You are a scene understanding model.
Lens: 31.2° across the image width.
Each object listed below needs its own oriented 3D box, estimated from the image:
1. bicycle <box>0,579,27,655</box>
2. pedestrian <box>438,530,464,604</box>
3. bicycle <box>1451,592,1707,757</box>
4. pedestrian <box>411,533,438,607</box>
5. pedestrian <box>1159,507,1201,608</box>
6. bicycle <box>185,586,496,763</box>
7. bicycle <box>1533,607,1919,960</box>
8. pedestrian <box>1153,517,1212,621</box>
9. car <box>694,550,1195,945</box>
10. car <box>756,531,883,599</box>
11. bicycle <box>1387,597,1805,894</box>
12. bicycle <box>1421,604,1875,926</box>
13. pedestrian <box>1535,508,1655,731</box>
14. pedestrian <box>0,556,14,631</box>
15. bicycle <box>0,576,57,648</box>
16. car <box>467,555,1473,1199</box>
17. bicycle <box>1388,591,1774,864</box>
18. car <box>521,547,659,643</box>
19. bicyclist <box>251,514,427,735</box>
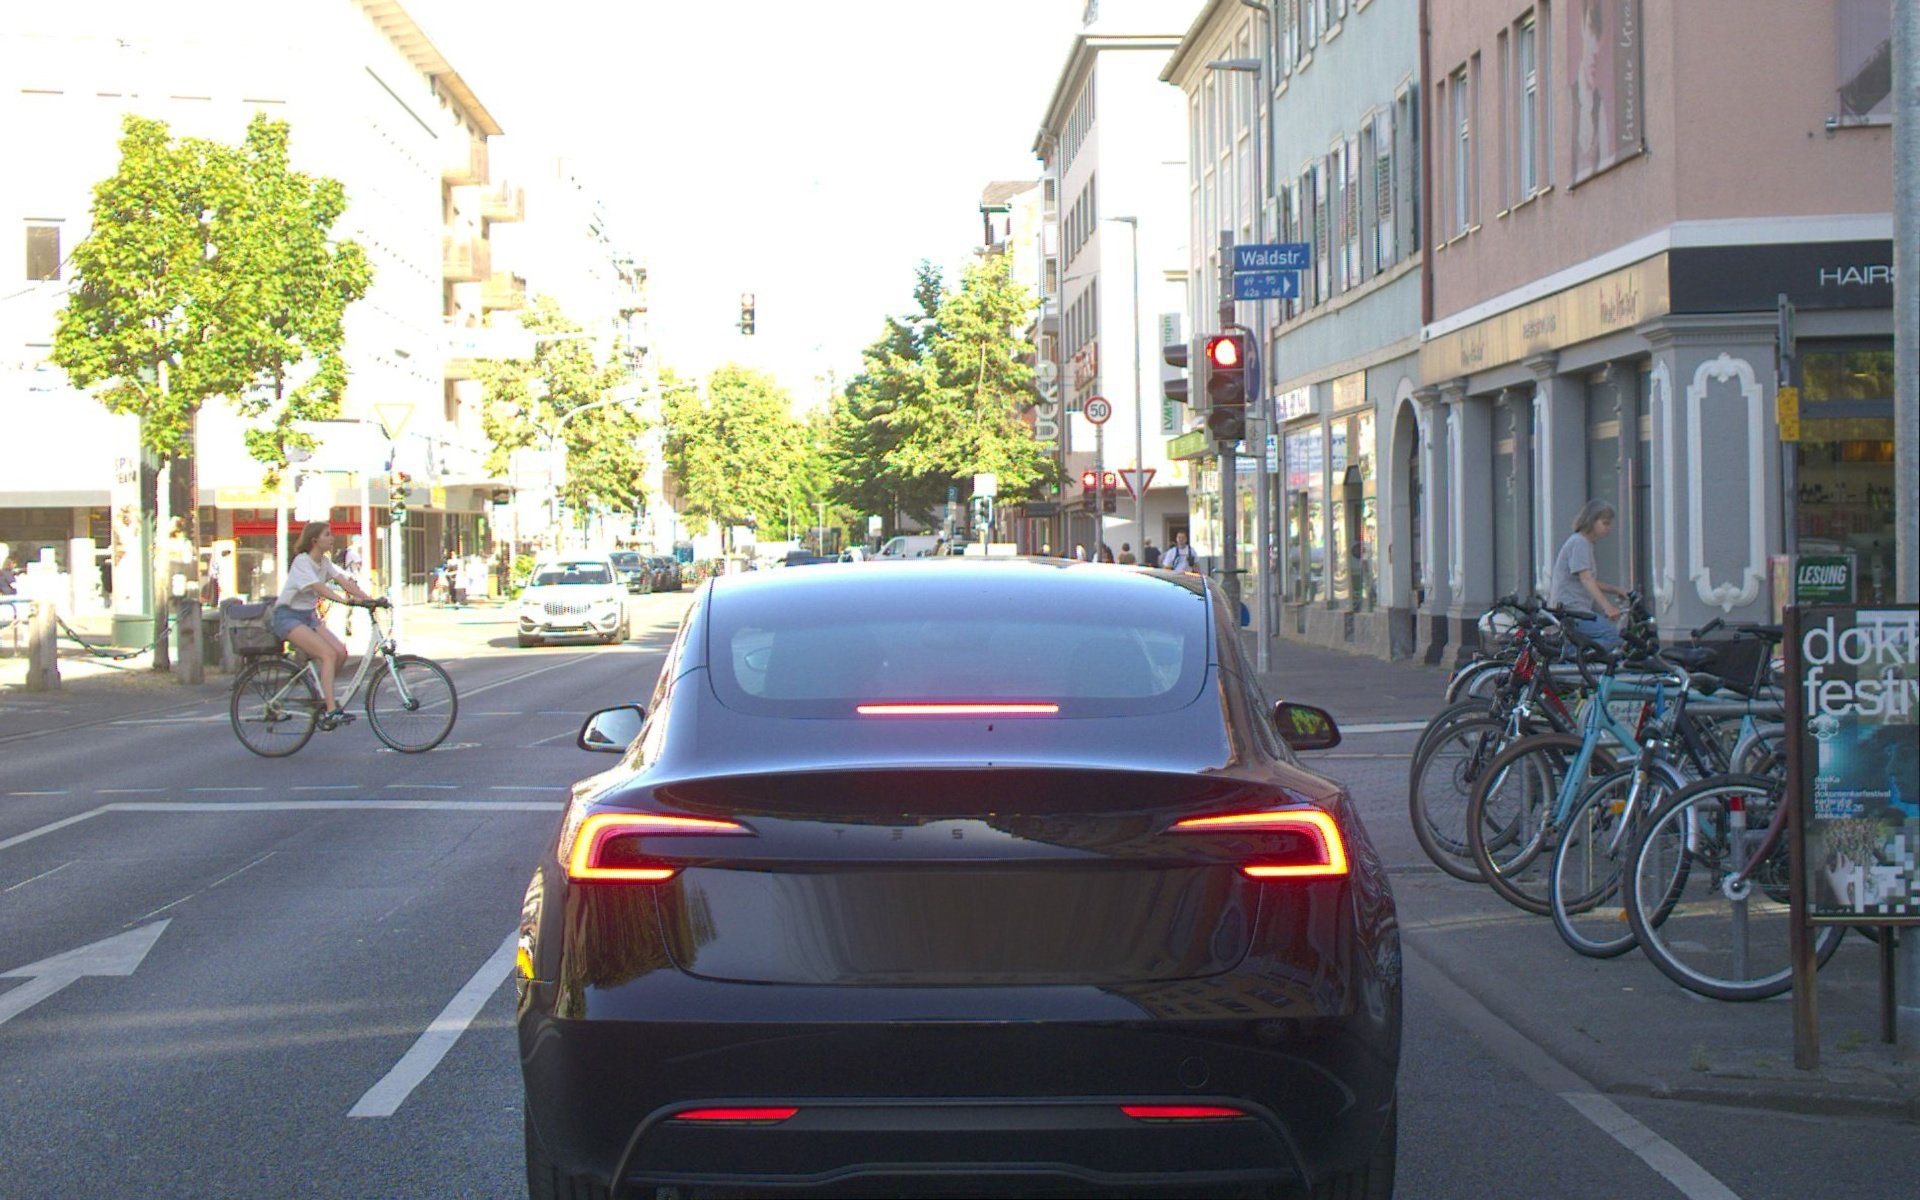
[{"bbox_3d":[-14.924,0.250,50.759,2.082,1.100,0.806,0,1,-1],"label":"bicycle"},{"bbox_3d":[-13.849,-0.908,93.563,0.626,2.007,0.575,0,1,-1],"label":"pedestrian"},{"bbox_3d":[4.046,0.478,22.536,1.616,1.041,0.590,1,0,9],"label":"bicycle"},{"bbox_3d":[-14.582,-0.818,93.554,0.626,2.007,0.707,0,1,-1],"label":"pedestrian"},{"bbox_3d":[3.915,-0.758,61.175,0.704,1.777,0.533,0,1,-1],"label":"pedestrian"},{"bbox_3d":[-4.523,0.546,25.105,2.127,1.196,0.628,-2,0,16],"label":"bicycle"},{"bbox_3d":[2.876,0.625,12.036,1.627,1.156,0.433,-2,1,-1],"label":"bicycle"},{"bbox_3d":[3.954,-0.559,61.130,0.999,1.844,0.615,0,1,-1],"label":"pedestrian"},{"bbox_3d":[-0.050,0.519,14.591,1.850,1.450,3.786,0,1,0],"label":"car"},{"bbox_3d":[-3.693,-0.921,89.538,2.049,1.721,4.655,0,1,-19],"label":"car"},{"bbox_3d":[2.649,0.599,14.377,1.627,1.156,0.433,-2,1,-1],"label":"bicycle"},{"bbox_3d":[2.642,0.627,13.273,1.627,1.156,0.433,-2,1,-1],"label":"bicycle"},{"bbox_3d":[4.152,0.122,22.526,0.743,1.435,0.582,1,0,9],"label":"pedestrian"},{"bbox_3d":[-17.276,-0.122,61.874,0.420,1.335,0.394,0,1,-7],"label":"pedestrian"},{"bbox_3d":[-15.062,0.178,52.952,2.082,1.100,0.806,0,1,-1],"label":"bicycle"},{"bbox_3d":[0.025,0.623,8.222,1.850,1.450,3.786,0,1,0],"label":"car"},{"bbox_3d":[2.794,0.568,15.537,1.628,1.156,0.433,-2,1,1],"label":"bicycle"},{"bbox_3d":[-6.569,-0.117,61.453,1.993,1.535,4.000,-4,1,-1],"label":"car"},{"bbox_3d":[-4.531,0.167,25.093,1.098,1.583,0.628,0,1,16],"label":"bicyclist"}]
